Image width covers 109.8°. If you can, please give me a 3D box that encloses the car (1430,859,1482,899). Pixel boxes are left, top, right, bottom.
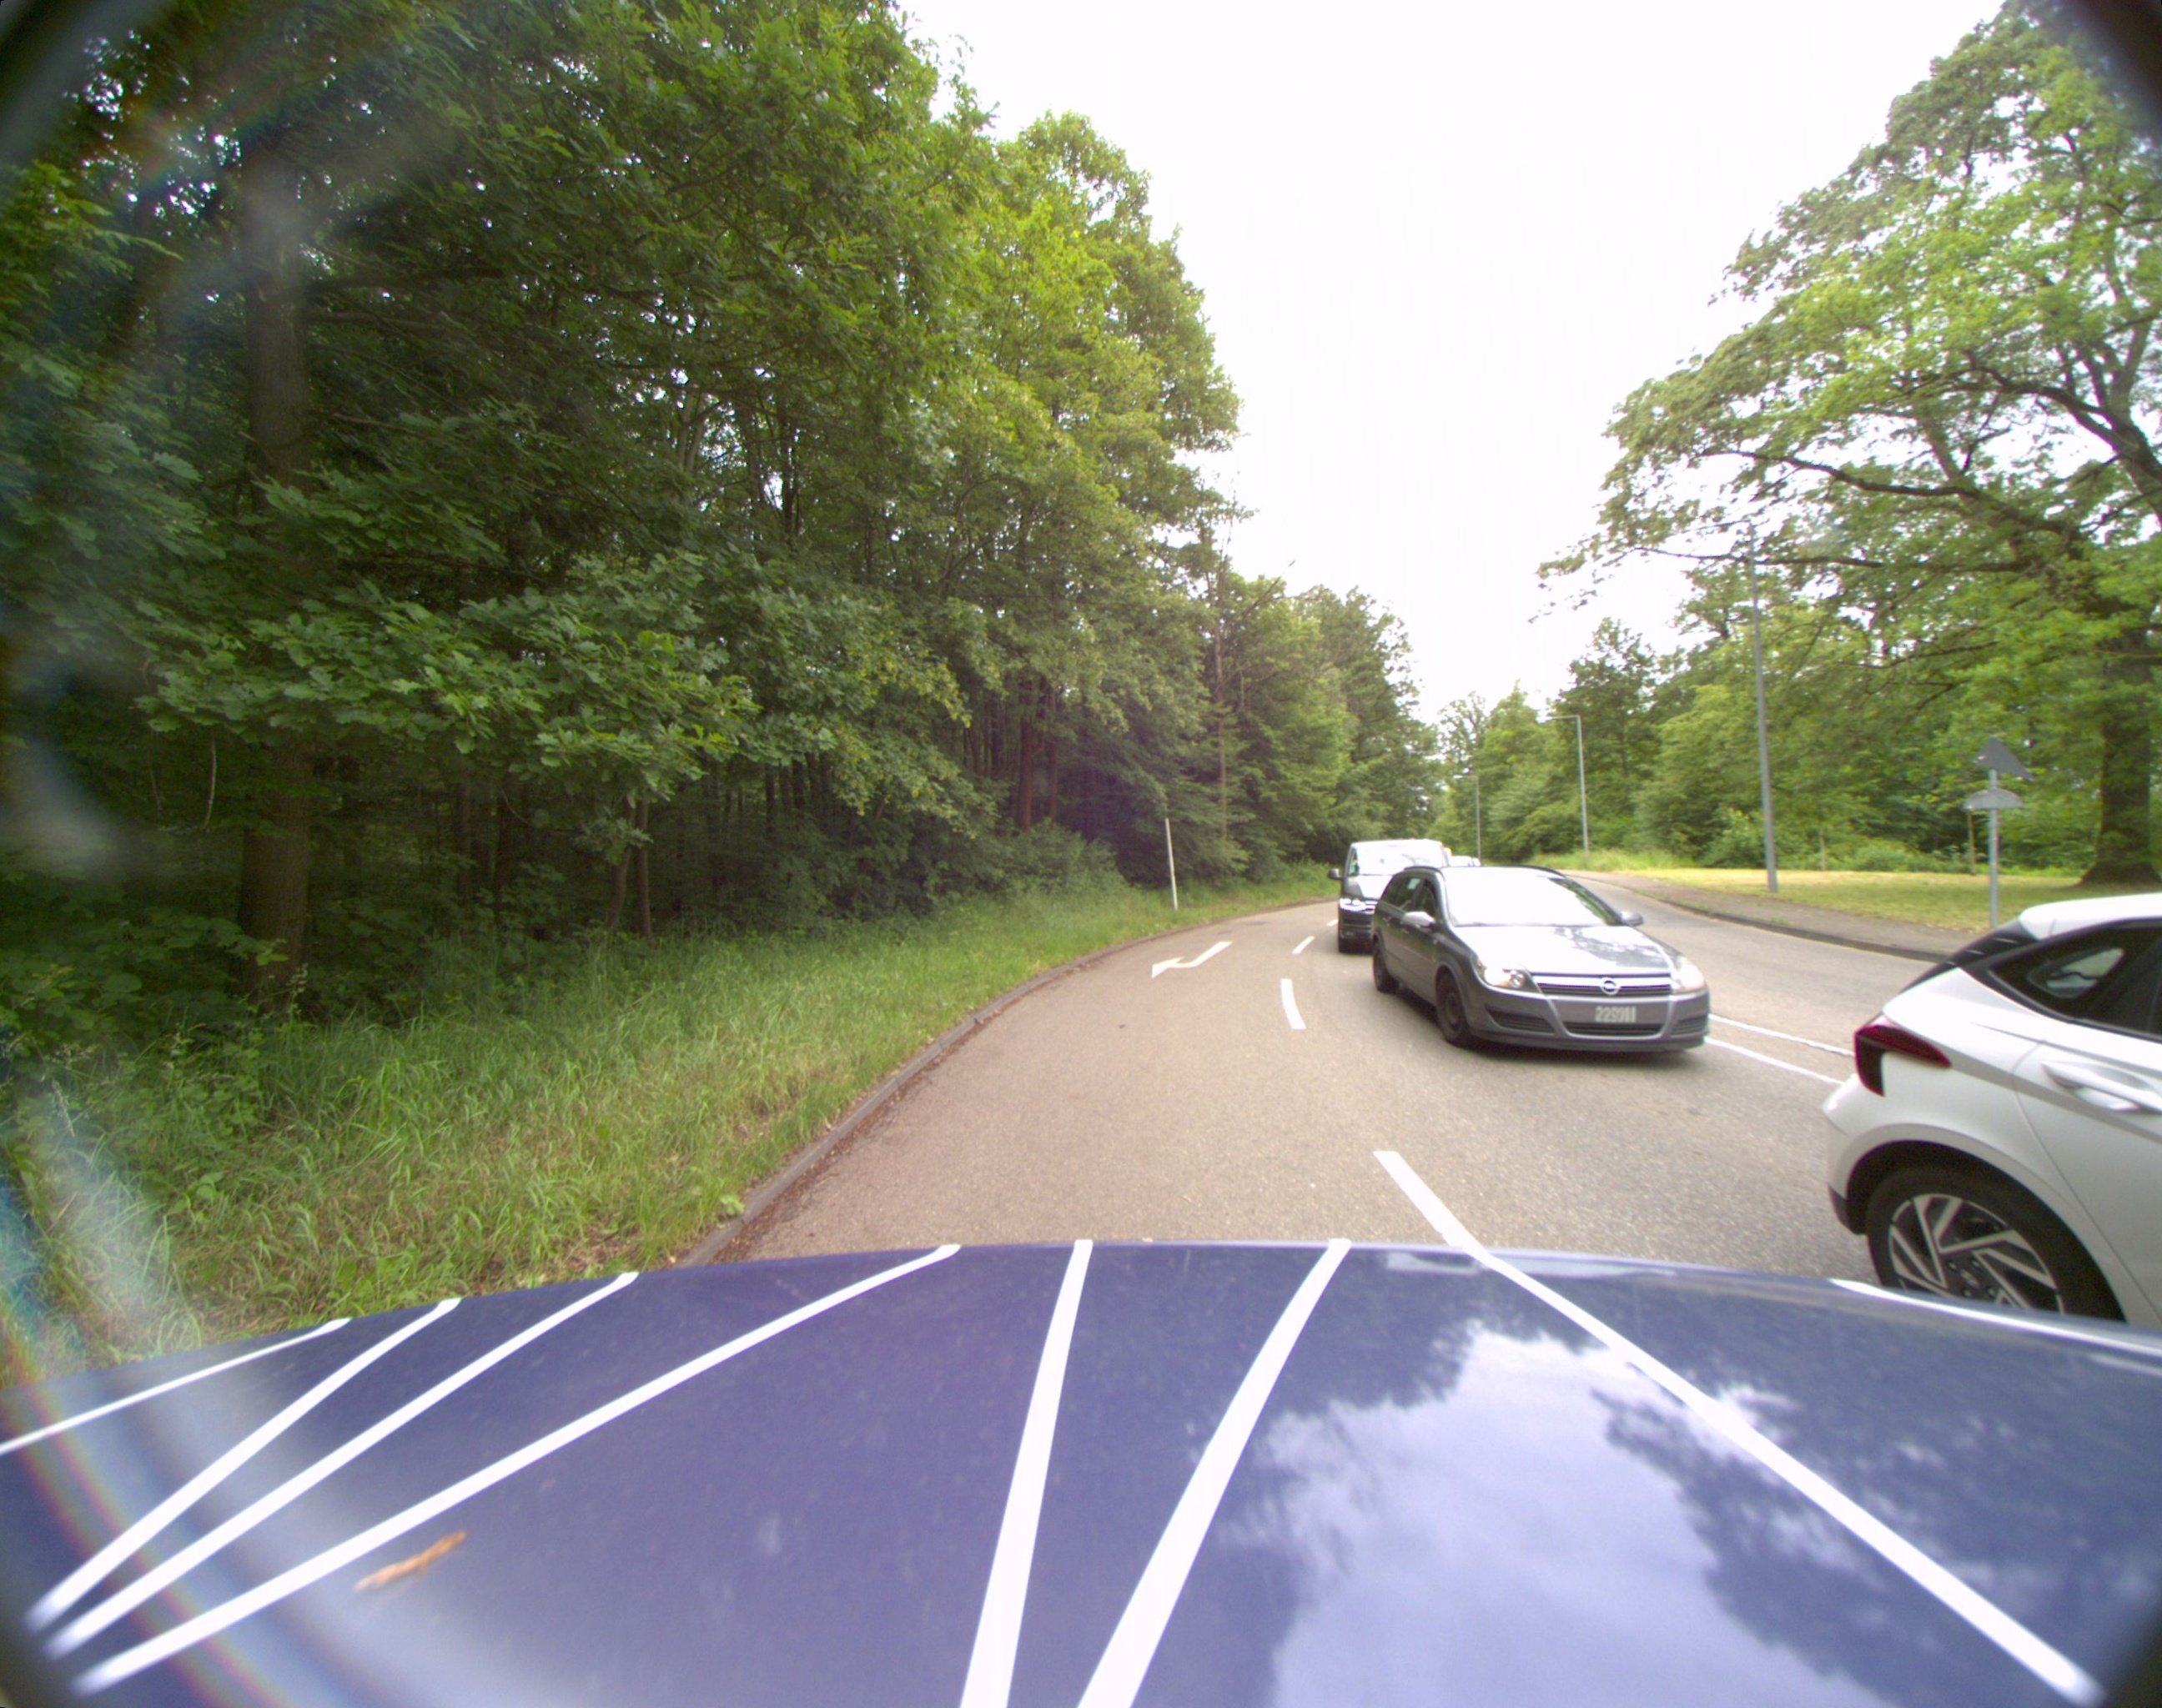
[{"bbox_3d":[15.214,0.988,30.944,1.775,1.490,3.880,-2,-1,25],"label":"car"}]

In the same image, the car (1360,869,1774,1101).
[{"bbox_3d":[4.033,0.921,7.316,1.801,1.470,4.474,-1,-1,11],"label":"car"}]

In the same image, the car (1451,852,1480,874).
[{"bbox_3d":[27.755,0.644,54.743,1.775,1.490,3.880,-2,-1,28],"label":"car"}]

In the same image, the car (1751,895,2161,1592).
[{"bbox_3d":[3.152,0.866,0.659,1.653,1.470,4.074,-1,-1,3],"label":"car"}]

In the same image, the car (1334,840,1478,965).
[{"bbox_3d":[5.759,0.767,13.784,1.987,1.861,4.539,-1,-1,21],"label":"car"}]

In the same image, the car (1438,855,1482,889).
[{"bbox_3d":[18.126,0.838,36.444,1.775,1.490,3.880,-2,-1,25],"label":"car"}]

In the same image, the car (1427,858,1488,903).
[{"bbox_3d":[13.390,0.897,27.166,1.775,1.490,3.880,-2,-1,25],"label":"car"}]

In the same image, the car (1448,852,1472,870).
[{"bbox_3d":[34.179,0.624,68.466,1.775,1.490,3.880,-2,-1,28],"label":"car"}]

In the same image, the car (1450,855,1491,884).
[{"bbox_3d":[20.965,0.812,41.017,1.775,1.490,3.880,-2,-1,25],"label":"car"}]
